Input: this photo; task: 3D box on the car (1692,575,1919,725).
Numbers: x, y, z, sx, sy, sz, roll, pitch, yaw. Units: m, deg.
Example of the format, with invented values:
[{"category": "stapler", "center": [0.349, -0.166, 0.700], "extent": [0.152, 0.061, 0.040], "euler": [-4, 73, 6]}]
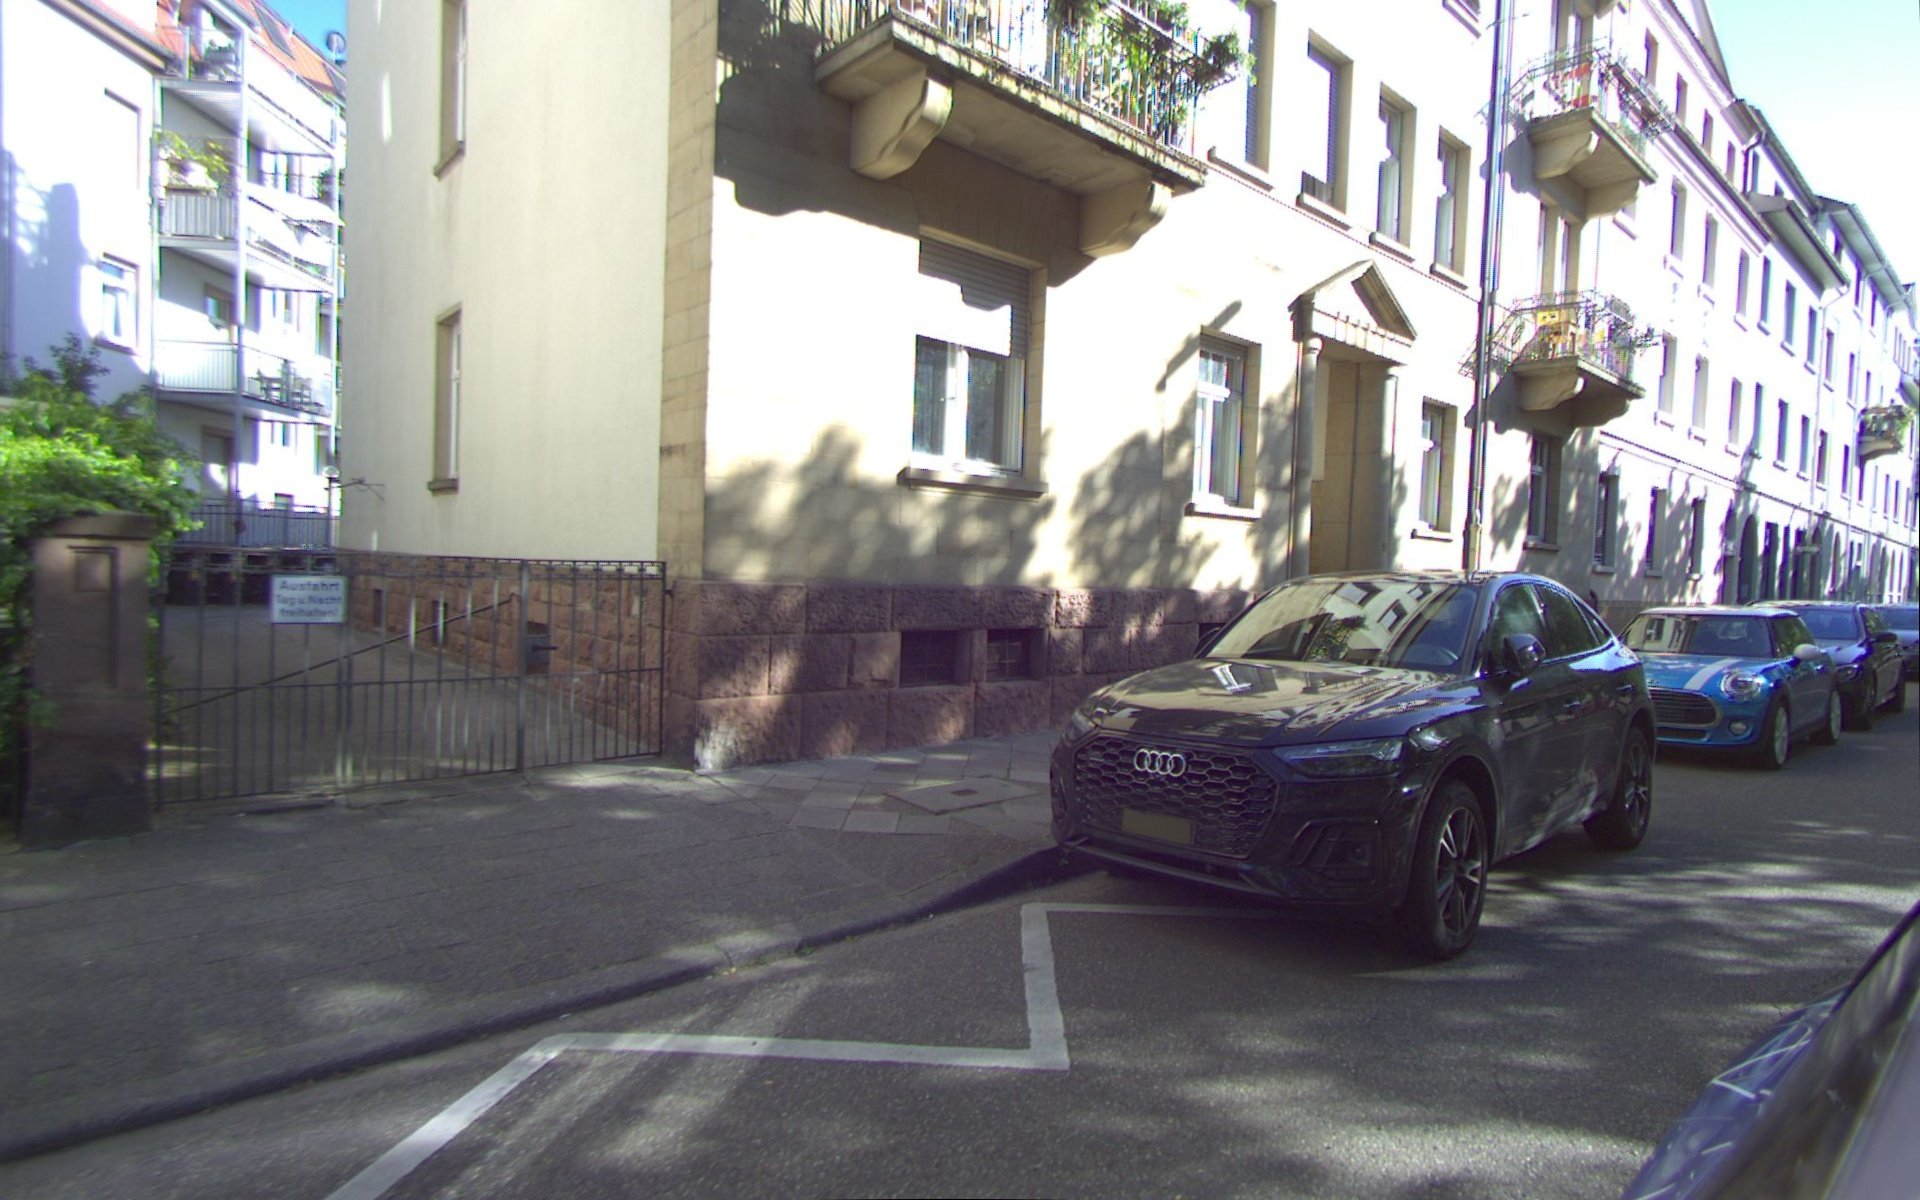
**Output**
[{"category": "car", "center": [11.325, 0.545, 13.369], "extent": [4.247, 1.582, 1.808], "euler": [0, 3, -43]}]

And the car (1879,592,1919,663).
[{"category": "car", "center": [22.901, 0.620, 23.611], "extent": [4.111, 1.571, 1.770], "euler": [0, 1, -42]}]

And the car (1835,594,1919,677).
[{"category": "car", "center": [18.715, 0.655, 19.931], "extent": [3.935, 1.486, 1.695], "euler": [0, 1, -41]}]

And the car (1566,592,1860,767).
[{"category": "car", "center": [7.630, 0.655, 10.149], "extent": [3.567, 1.433, 1.593], "euler": [0, 1, -40]}]

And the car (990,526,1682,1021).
[{"category": "car", "center": [2.377, 0.564, 5.612], "extent": [4.417, 1.664, 1.866], "euler": [0, 1, -44]}]

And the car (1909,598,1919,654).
[{"category": "car", "center": [26.842, 0.706, 27.015], "extent": [4.216, 1.449, 1.773], "euler": [0, 2, -41]}]
